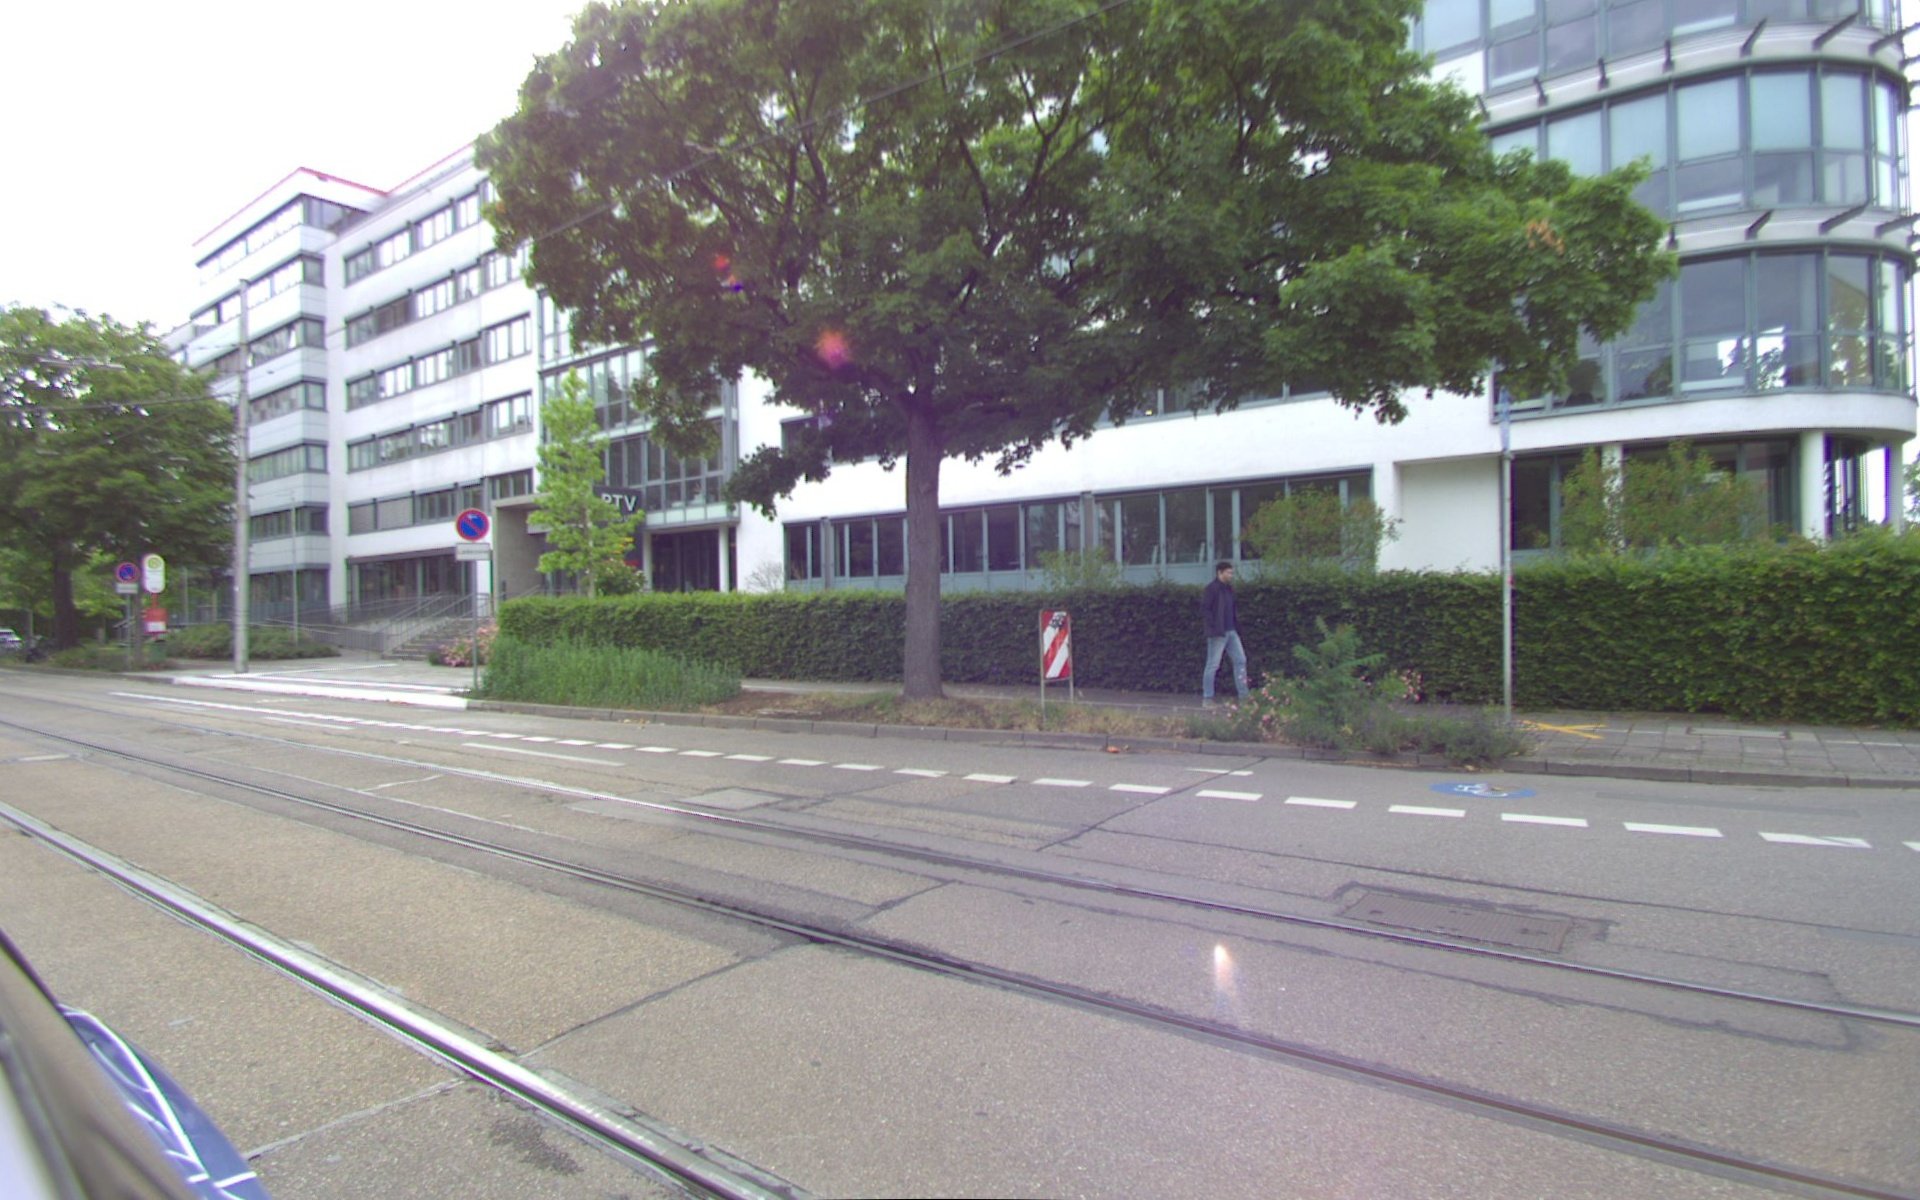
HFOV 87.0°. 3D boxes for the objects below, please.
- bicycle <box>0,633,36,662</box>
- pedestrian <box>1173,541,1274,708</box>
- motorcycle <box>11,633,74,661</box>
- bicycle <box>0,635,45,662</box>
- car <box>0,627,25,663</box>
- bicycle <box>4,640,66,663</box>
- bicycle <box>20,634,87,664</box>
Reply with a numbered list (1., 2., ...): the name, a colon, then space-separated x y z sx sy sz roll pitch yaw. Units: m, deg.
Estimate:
1. bicycle: -41.561 2.069 44.112 0.632 1.195 1.845 -2 -2 41
2. pedestrian: 3.367 0.295 12.936 0.991 2.029 0.702 -1 1 44
3. motorcycle: -37.240 1.897 41.094 0.730 1.058 1.775 -1 0 30
4. bicycle: -40.597 2.075 43.465 0.630 1.108 1.792 -1 -1 31
5. car: -44.048 2.051 45.709 4.746 1.504 1.864 -2 1 38
6. bicycle: -38.554 2.125 42.204 0.630 0.906 1.792 -1 -1 31
7. bicycle: -35.597 1.910 39.749 0.738 1.061 1.816 -2 -1 29
